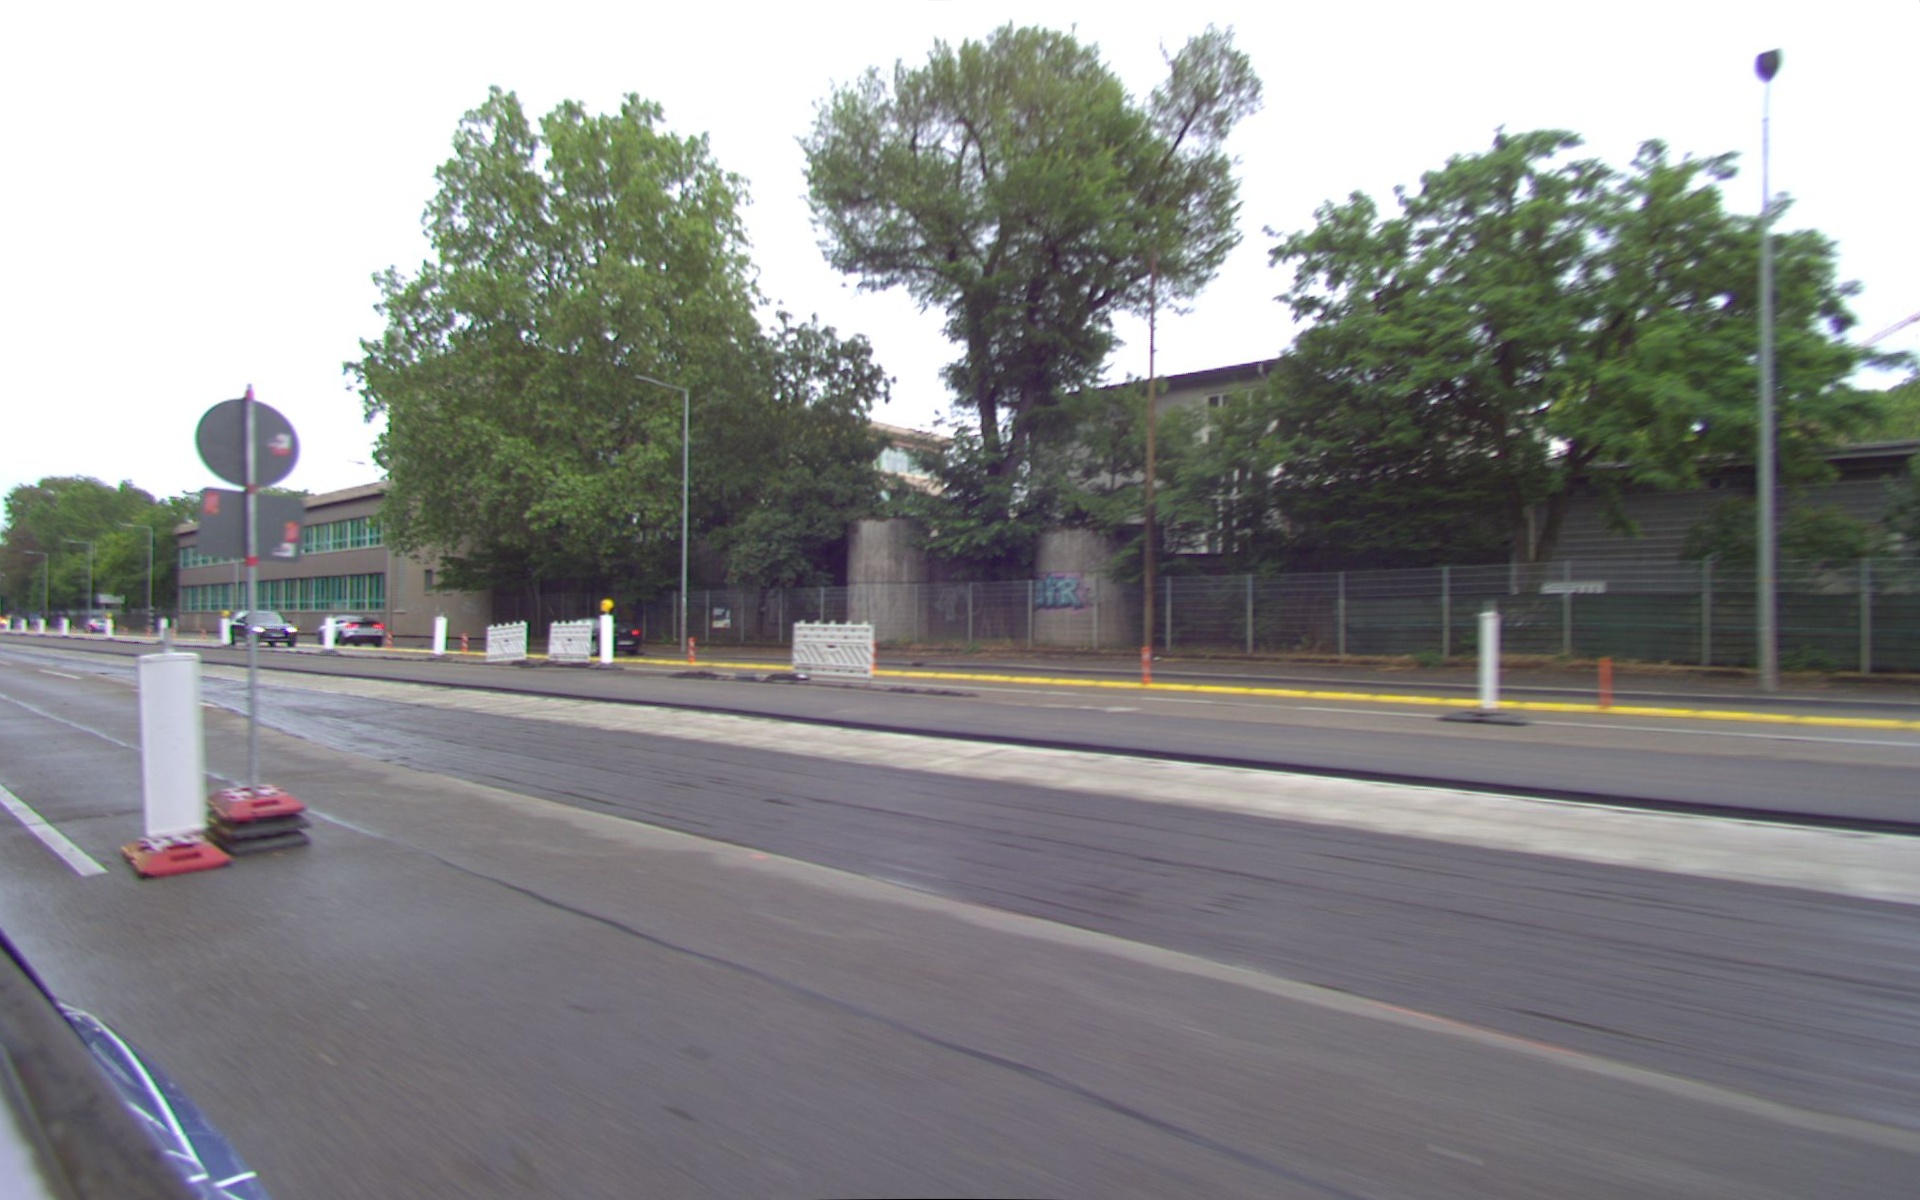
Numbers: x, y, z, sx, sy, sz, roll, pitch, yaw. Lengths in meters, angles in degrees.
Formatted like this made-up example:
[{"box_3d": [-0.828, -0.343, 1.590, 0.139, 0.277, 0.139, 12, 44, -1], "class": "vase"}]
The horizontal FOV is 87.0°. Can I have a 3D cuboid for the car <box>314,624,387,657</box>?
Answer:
[{"box_3d": [-29.229, 1.908, 48.495, 4.146, 1.445, 1.817, -1, -1, 41], "class": "car"}]

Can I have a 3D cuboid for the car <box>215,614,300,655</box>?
[{"box_3d": [-32.817, 1.659, 47.246, 4.980, 1.719, 1.973, -3, -6, 40], "class": "car"}]

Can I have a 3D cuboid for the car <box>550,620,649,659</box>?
[{"box_3d": [-13.776, 1.494, 38.567, 4.167, 1.393, 1.688, -1, -3, 41], "class": "car"}]

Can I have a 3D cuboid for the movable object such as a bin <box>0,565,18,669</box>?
[{"box_3d": [-31.400, 0.547, 31.650, 5.616, 3.125, 1.975, -1, -1, 38], "class": "movable object such as a bin"}]
